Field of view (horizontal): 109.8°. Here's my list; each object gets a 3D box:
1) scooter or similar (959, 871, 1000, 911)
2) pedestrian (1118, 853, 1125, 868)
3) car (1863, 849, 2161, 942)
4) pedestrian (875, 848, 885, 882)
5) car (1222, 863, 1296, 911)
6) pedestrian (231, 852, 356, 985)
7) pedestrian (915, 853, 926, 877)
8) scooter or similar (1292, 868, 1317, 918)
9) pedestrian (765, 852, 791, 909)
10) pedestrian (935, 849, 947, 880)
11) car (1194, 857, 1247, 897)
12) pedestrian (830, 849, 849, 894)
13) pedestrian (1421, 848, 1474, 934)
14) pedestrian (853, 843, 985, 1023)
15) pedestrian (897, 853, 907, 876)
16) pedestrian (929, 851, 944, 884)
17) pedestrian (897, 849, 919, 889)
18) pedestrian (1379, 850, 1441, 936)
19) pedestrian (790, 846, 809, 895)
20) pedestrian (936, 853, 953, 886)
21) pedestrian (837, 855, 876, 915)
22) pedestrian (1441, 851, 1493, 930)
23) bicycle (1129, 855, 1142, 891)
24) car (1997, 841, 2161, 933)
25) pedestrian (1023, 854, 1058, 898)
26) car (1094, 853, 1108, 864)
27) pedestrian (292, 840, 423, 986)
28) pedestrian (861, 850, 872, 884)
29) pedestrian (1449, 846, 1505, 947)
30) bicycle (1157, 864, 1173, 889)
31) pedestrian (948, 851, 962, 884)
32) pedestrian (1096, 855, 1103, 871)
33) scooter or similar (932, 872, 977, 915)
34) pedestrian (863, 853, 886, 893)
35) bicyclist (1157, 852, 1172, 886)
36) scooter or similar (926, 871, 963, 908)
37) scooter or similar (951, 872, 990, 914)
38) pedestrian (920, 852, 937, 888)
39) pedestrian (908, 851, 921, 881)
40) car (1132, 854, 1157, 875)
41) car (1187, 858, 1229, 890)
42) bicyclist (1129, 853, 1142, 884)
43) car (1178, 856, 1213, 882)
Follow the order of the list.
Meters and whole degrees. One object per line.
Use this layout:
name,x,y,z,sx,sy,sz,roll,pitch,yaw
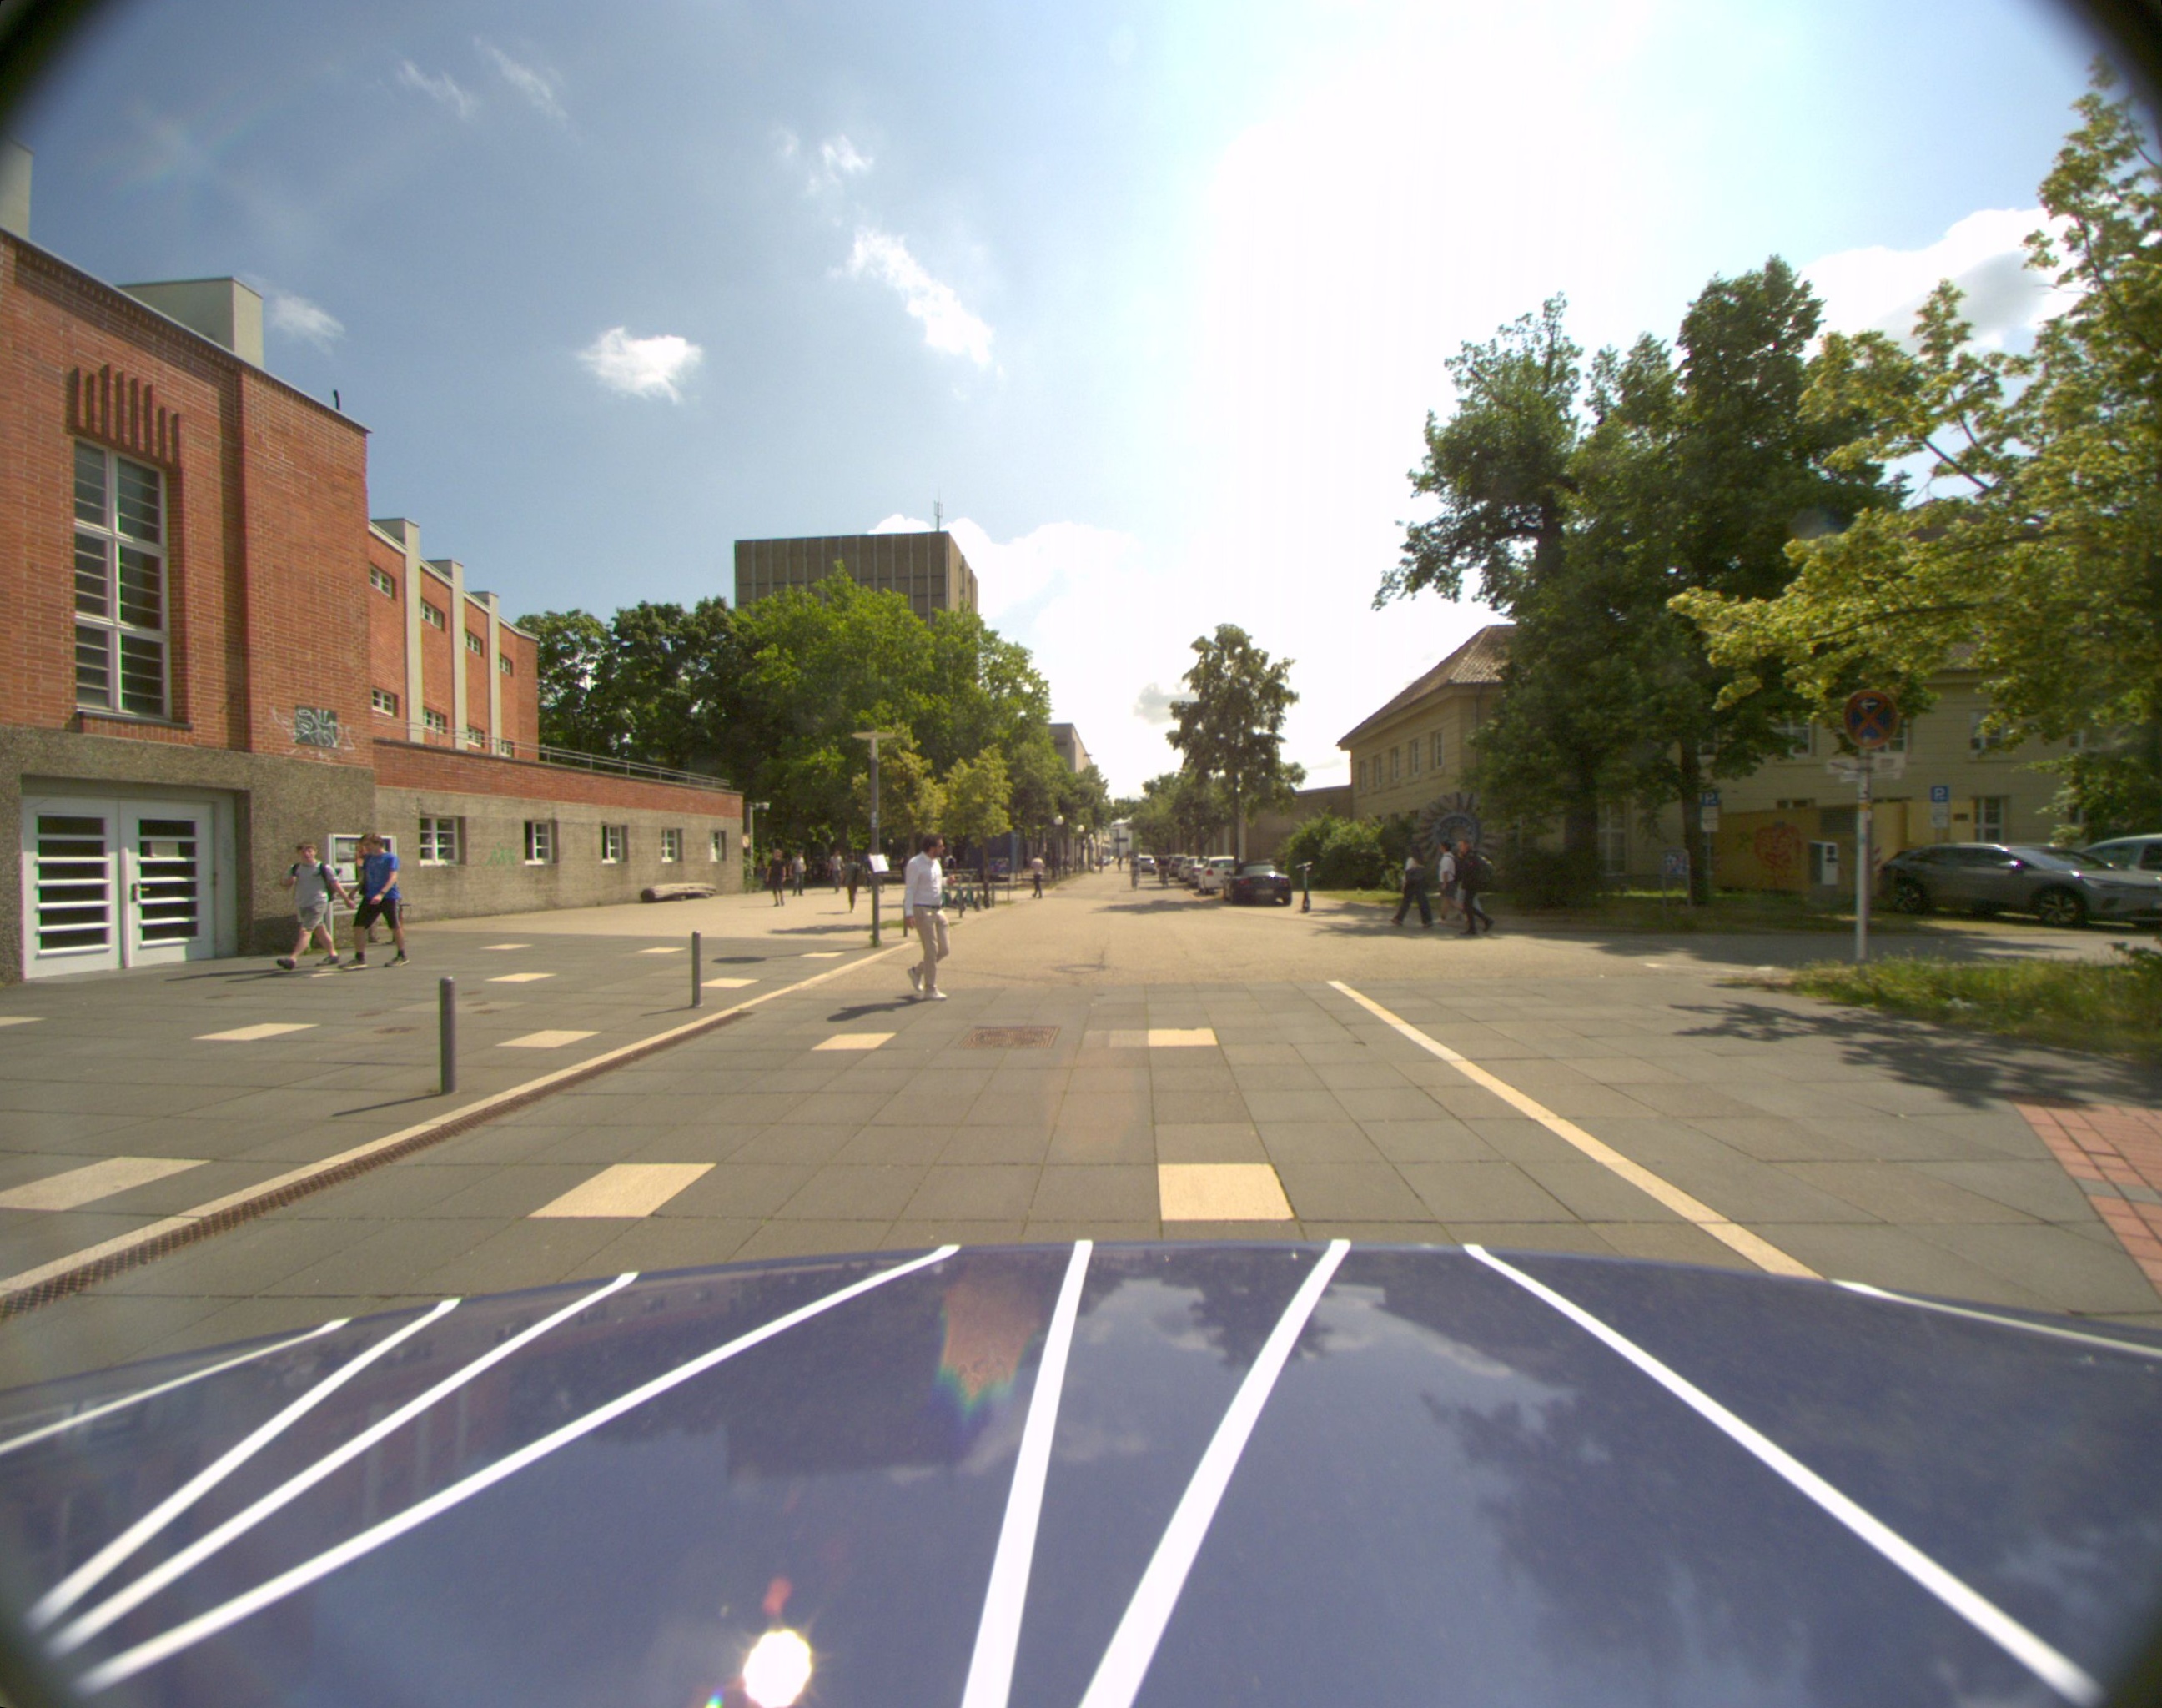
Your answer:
scooter or similar,-3.244,1.154,24.287,1.261,1.225,0.577,0,0,39
pedestrian,4.617,0.759,86.148,0.536,1.672,0.587,0,0,42
car,19.635,0.729,15.897,1.898,1.572,4.650,0,1,4
pedestrian,-10.908,0.595,41.234,0.541,1.783,0.643,0,0,-15
car,5.385,0.966,23.380,1.700,1.287,3.763,0,0,5
pedestrian,-10.595,0.831,10.262,0.586,1.697,1.002,0,1,4
pedestrian,-10.820,0.731,51.290,0.640,1.629,0.562,0,0,-25
scooter or similar,5.740,0.990,19.546,0.470,1.209,1.205,0,0,9
pedestrian,-9.538,0.813,23.959,0.586,1.768,0.798,0,1,-8
pedestrian,-8.478,0.648,45.896,0.640,1.859,0.537,0,0,-19
car,5.439,0.860,29.936,1.634,1.422,3.634,-1,0,4
pedestrian,-10.407,0.766,32.754,0.670,1.875,0.972,-2,-2,-20
pedestrian,7.853,0.757,16.264,0.898,1.776,0.728,0,1,37
pedestrian,-1.782,0.816,8.413,1.022,1.837,0.918,-1,1,34
pedestrian,-12.078,0.733,51.261,0.640,1.548,0.574,0,0,-15
pedestrian,-7.633,0.713,40.150,0.603,1.742,0.763,0,0,-24
pedestrian,-8.546,0.739,37.573,0.983,1.934,0.977,0,0,-18
pedestrian,6.741,0.767,15.580,0.623,1.706,1.002,0,0,-41
pedestrian,-11.345,0.681,30.638,0.566,1.917,0.889,-2,-1,-14
pedestrian,-6.890,0.785,38.277,0.751,1.663,0.845,0,0,-18
pedestrian,-6.511,0.878,22.101,0.784,1.666,1.079,0,1,1
pedestrian,8.570,0.787,16.861,0.970,1.706,0.559,0,1,34
bicycle,2.579,0.873,35.805,0.588,1.670,1.759,0,0,4
car,22.164,0.638,15.595,1.811,1.776,4.124,0,2,4
pedestrian,-1.653,0.872,30.900,0.985,1.776,1.092,0,0,-36
car,3.147,0.730,119.310,1.998,1.648,4.000,0,0,2
pedestrian,-9.773,0.756,10.317,0.665,1.879,1.110,0,1,1
pedestrian,-11.582,0.701,41.109,0.566,1.783,0.643,0,0,-16
pedestrian,7.232,0.757,13.862,0.870,1.776,0.570,0,0,31
bicycle,4.004,1.042,36.387,0.626,1.135,1.812,0,0,2
pedestrian,-6.709,0.701,40.408,0.623,1.729,0.774,0,0,-18
pedestrian,1.623,0.802,66.818,0.585,1.433,0.639,0,0,6
scooter or similar,-3.808,1.164,22.783,1.352,1.223,0.577,0,0,39
pedestrian,-9.235,0.845,33.972,0.796,1.755,0.670,-1,0,43
bicyclist,3.997,0.716,36.414,0.629,1.597,1.329,0,0,2
scooter or similar,-4.491,1.153,25.060,0.575,1.173,1.480,0,0,18
scooter or similar,-3.424,1.181,23.490,1.140,1.236,0.577,0,0,39
pedestrian,-7.629,0.790,37.940,0.782,1.781,0.714,0,0,-17
pedestrian,-9.608,0.687,43.858,0.640,1.697,0.713,0,0,-23
car,5.256,0.825,62.563,1.932,1.624,4.374,0,0,5
car,5.935,0.909,35.775,1.647,1.368,4.001,0,0,5
bicyclist,2.577,0.662,35.852,0.587,1.444,1.234,0,0,4
car,6.583,0.826,43.947,1.717,1.424,4.001,0,0,5
